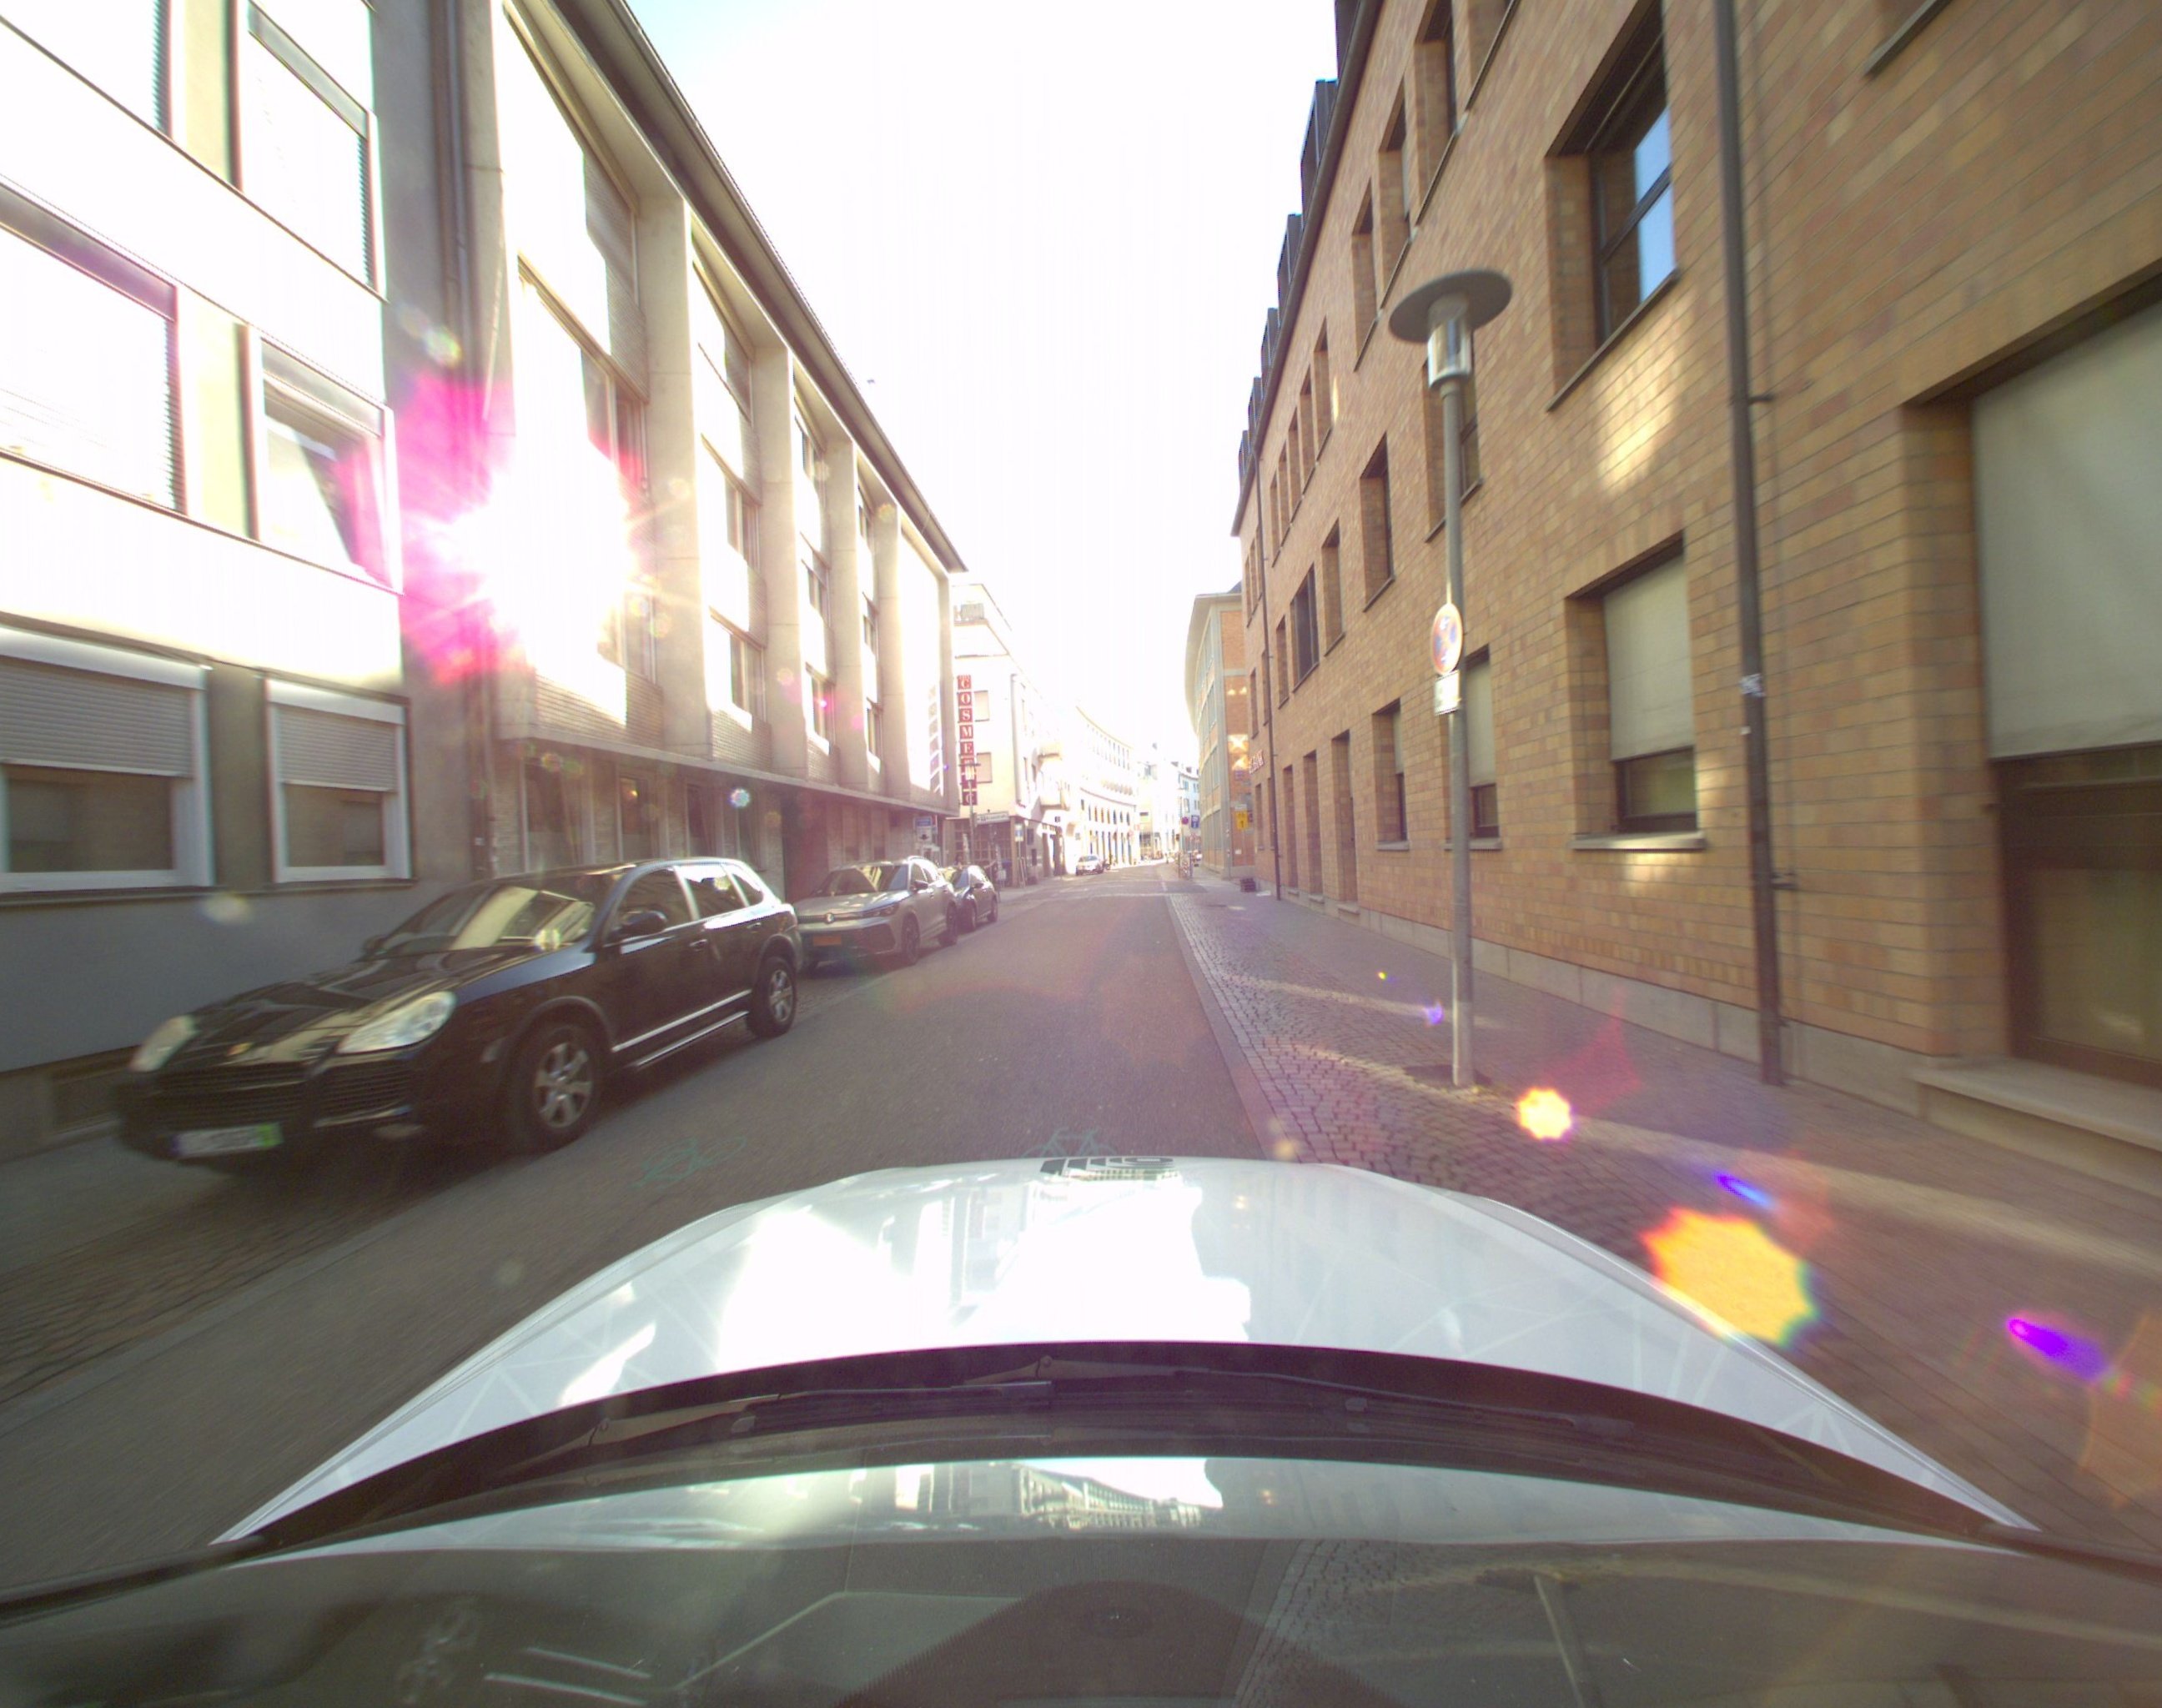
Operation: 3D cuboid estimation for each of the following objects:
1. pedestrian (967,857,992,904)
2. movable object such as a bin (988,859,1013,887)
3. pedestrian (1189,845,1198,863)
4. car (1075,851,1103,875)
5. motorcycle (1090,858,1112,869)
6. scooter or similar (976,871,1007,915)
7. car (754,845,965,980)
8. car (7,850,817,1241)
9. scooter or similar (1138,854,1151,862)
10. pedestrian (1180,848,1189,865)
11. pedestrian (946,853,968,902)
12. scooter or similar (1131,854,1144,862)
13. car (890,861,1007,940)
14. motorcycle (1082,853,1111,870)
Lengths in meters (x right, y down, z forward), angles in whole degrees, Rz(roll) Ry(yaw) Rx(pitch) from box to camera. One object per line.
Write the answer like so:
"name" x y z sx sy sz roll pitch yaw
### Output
"pedestrian" -3.595 0.923 28.864 0.650 1.625 0.452 -3 0 -37
"movable object such as a bin" -4.155 0.978 42.126 0.939 1.420 0.874 -1 -1 -42
"pedestrian" 11.897 0.042 86.245 0.662 1.869 0.754 -1 -1 -26
"car" 0.602 0.640 58.897 1.728 1.606 3.538 -2 0 5
"motorcycle" 1.637 0.800 66.408 1.681 0.859 0.596 -1 -1 9
"scooter or similar" -2.611 1.130 23.651 0.414 1.198 1.112 -7 0 -24
"car" -3.349 0.778 13.333 1.881 1.742 4.396 -4 0 4
"car" -3.830 0.878 6.004 1.881 1.675 4.559 -4 0 4
"scooter or similar" 8.158 0.467 104.655 0.520 0.928 2.242 -2 0 35
"pedestrian" 11.641 0.290 91.711 0.662 1.869 0.779 -1 -1 -26
"pedestrian" -4.532 0.860 29.760 0.443 1.738 0.556 -3 0 27
"scooter or similar" 7.064 0.506 101.319 0.520 0.928 2.242 -2 0 35
"car" -2.969 0.987 19.083 1.641 1.460 4.004 -6 0 5
"motorcycle" 1.368 0.630 70.232 2.380 1.317 0.863 -4 0 4
